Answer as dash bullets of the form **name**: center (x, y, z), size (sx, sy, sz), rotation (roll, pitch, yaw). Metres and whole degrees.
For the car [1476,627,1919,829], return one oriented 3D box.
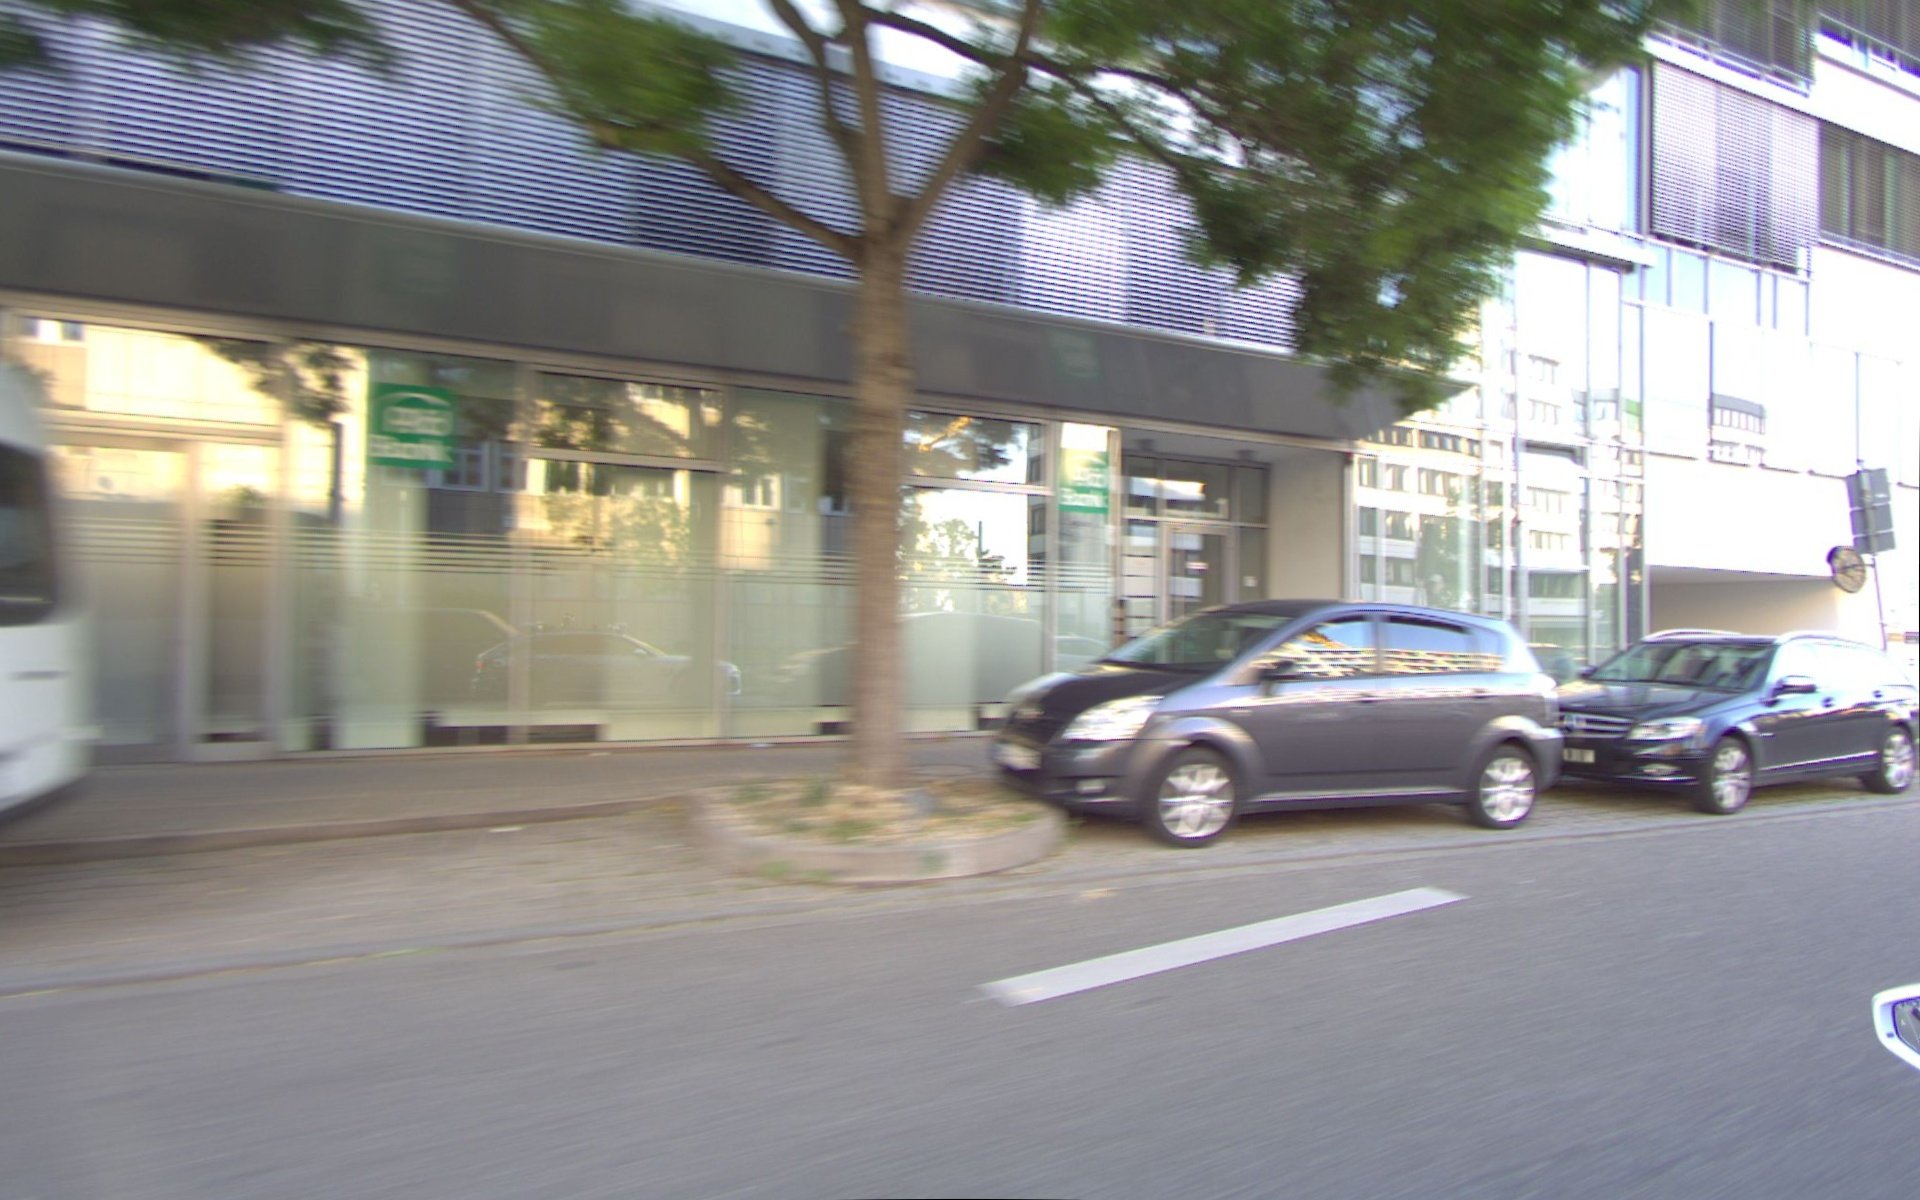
- **car**: center (6.907, 1.014, 9.176), size (4.342, 1.471, 1.709), rotation (1, -1, -27)

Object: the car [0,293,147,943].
- **car**: center (-7.323, 0.028, 3.286), size (6.851, 2.699, 2.096), rotation (1, -1, -23)

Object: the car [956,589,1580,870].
- **car**: center (2.258, 0.791, 7.380), size (4.206, 1.592, 1.840), rotation (1, -1, -23)
